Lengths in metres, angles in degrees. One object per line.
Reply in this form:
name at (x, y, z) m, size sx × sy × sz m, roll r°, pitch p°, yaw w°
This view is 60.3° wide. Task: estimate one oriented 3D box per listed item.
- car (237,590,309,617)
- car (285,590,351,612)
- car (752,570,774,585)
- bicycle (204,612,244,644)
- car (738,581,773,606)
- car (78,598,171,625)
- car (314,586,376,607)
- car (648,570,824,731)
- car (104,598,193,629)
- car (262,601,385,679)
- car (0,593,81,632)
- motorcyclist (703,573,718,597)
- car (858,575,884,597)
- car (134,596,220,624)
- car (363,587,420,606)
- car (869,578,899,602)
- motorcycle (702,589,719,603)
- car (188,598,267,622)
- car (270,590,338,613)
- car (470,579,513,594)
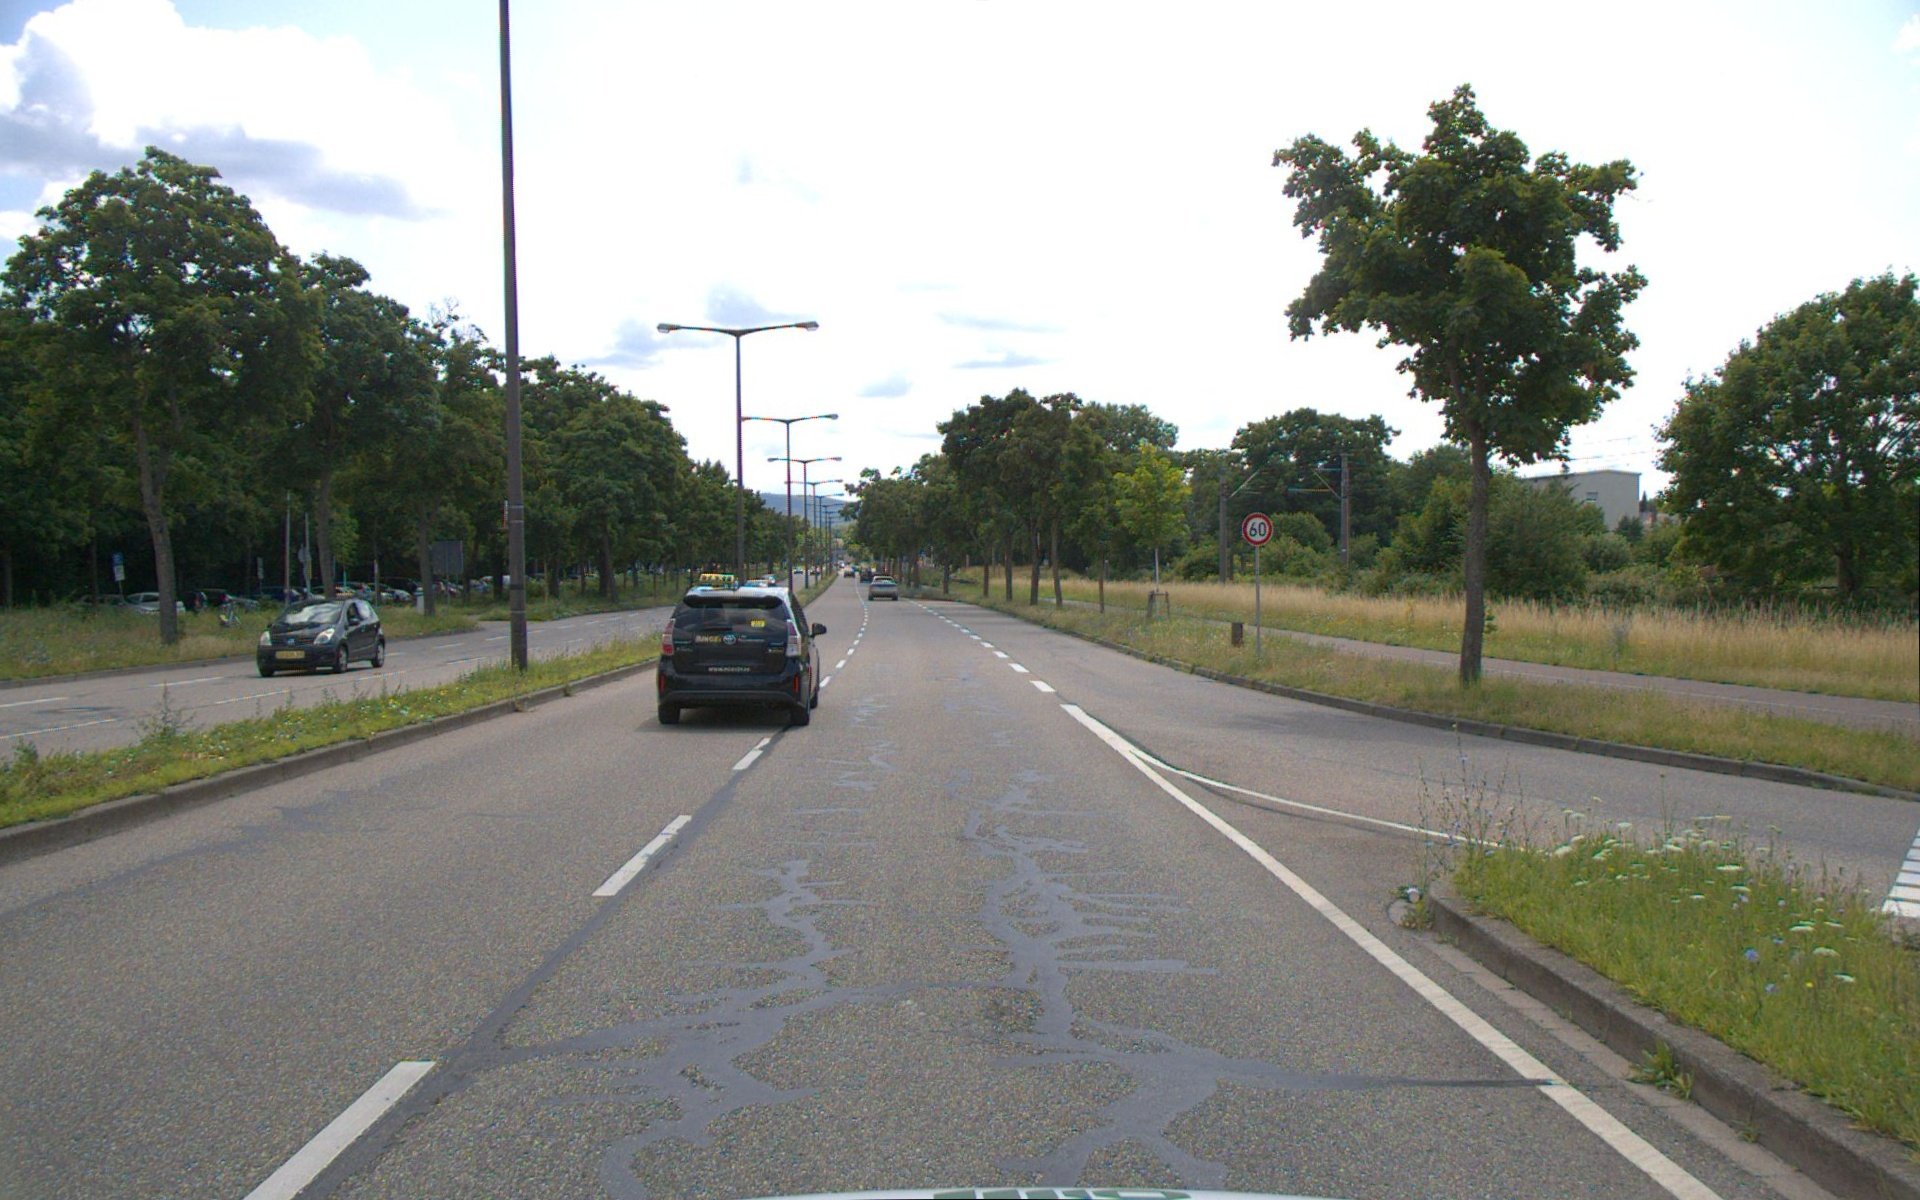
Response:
car at (-42.699, 0.201, 102.825) m, size 3.707 × 1.595 × 1.786 m, roll 1°, pitch 1°, yaw 1°
car at (-43.406, 0.045, 111.844) m, size 3.707 × 1.412 × 1.786 m, roll 1°, pitch 1°, yaw 1°
car at (-20.704, -2.389, 173.884) m, size 1.841 × 1.534 × 3.798 m, roll 1°, pitch 1°, yaw 0°
bicycle at (-24.760, 0.929, 55.656) m, size 0.555 × 0.995 × 1.916 m, roll -1°, pitch 1°, yaw -3°
car at (-12.538, -0.394, 101.758) m, size 1.774 × 1.422 × 4.731 m, roll -1°, pitch 1°, yaw -3°
car at (-41.663, 0.565, 82.510) m, size 3.708 × 1.269 × 1.785 m, roll 1°, pitch 1°, yaw -2°
car at (-43.914, -0.266, 118.151) m, size 3.707 × 1.412 × 1.786 m, roll 1°, pitch 1°, yaw 1°
car at (-2.606, 0.519, 20.062) m, size 1.744 × 1.713 × 3.998 m, roll 1°, pitch 1°, yaw -3°
car at (-41.676, 0.685, 85.012) m, size 3.710 × 1.453 × 1.785 m, roll 1°, pitch 1°, yaw -3°
car at (-12.737, 0.764, 33.284) m, size 1.671 × 1.452 × 3.665 m, roll -1°, pitch 0°, yaw -11°
car at (-38.969, 0.499, 68.876) m, size 3.708 × 1.534 × 1.785 m, roll 1°, pitch 1°, yaw -2°
motorcyclist at (-15.743, -0.949, 104.369) m, size 0.810 × 1.438 × 1.328 m, roll 1°, pitch 1°, yaw -3°
car at (-7.028, -1.136, 130.746) m, size 1.953 × 1.691 × 3.999 m, roll 1°, pitch 1°, yaw -2°
car at (-41.659, 0.526, 88.063) m, size 3.710 × 1.410 × 1.785 m, roll 1°, pitch 1°, yaw -3°
car at (-43.540, -0.271, 126.622) m, size 3.707 × 1.412 × 1.786 m, roll 1°, pitch 1°, yaw 1°
car at (-5.301, -0.711, 114.517) m, size 1.954 × 1.534 × 3.997 m, roll 1°, pitch 1°, yaw -5°
motorcycle at (-15.762, -0.252, 104.525) m, size 0.736 × 0.785 × 2.670 m, roll 1°, pitch 1°, yaw -2°
car at (-42.173, 0.558, 95.288) m, size 3.710 × 1.269 × 1.785 m, roll 1°, pitch 1°, yaw -3°
car at (-43.016, 0.084, 108.487) m, size 3.707 × 1.412 × 1.786 m, roll 1°, pitch 1°, yaw 1°
car at (-46.545, -1.302, 164.456) m, size 3.707 × 1.412 × 1.786 m, roll 1°, pitch 1°, yaw 1°
